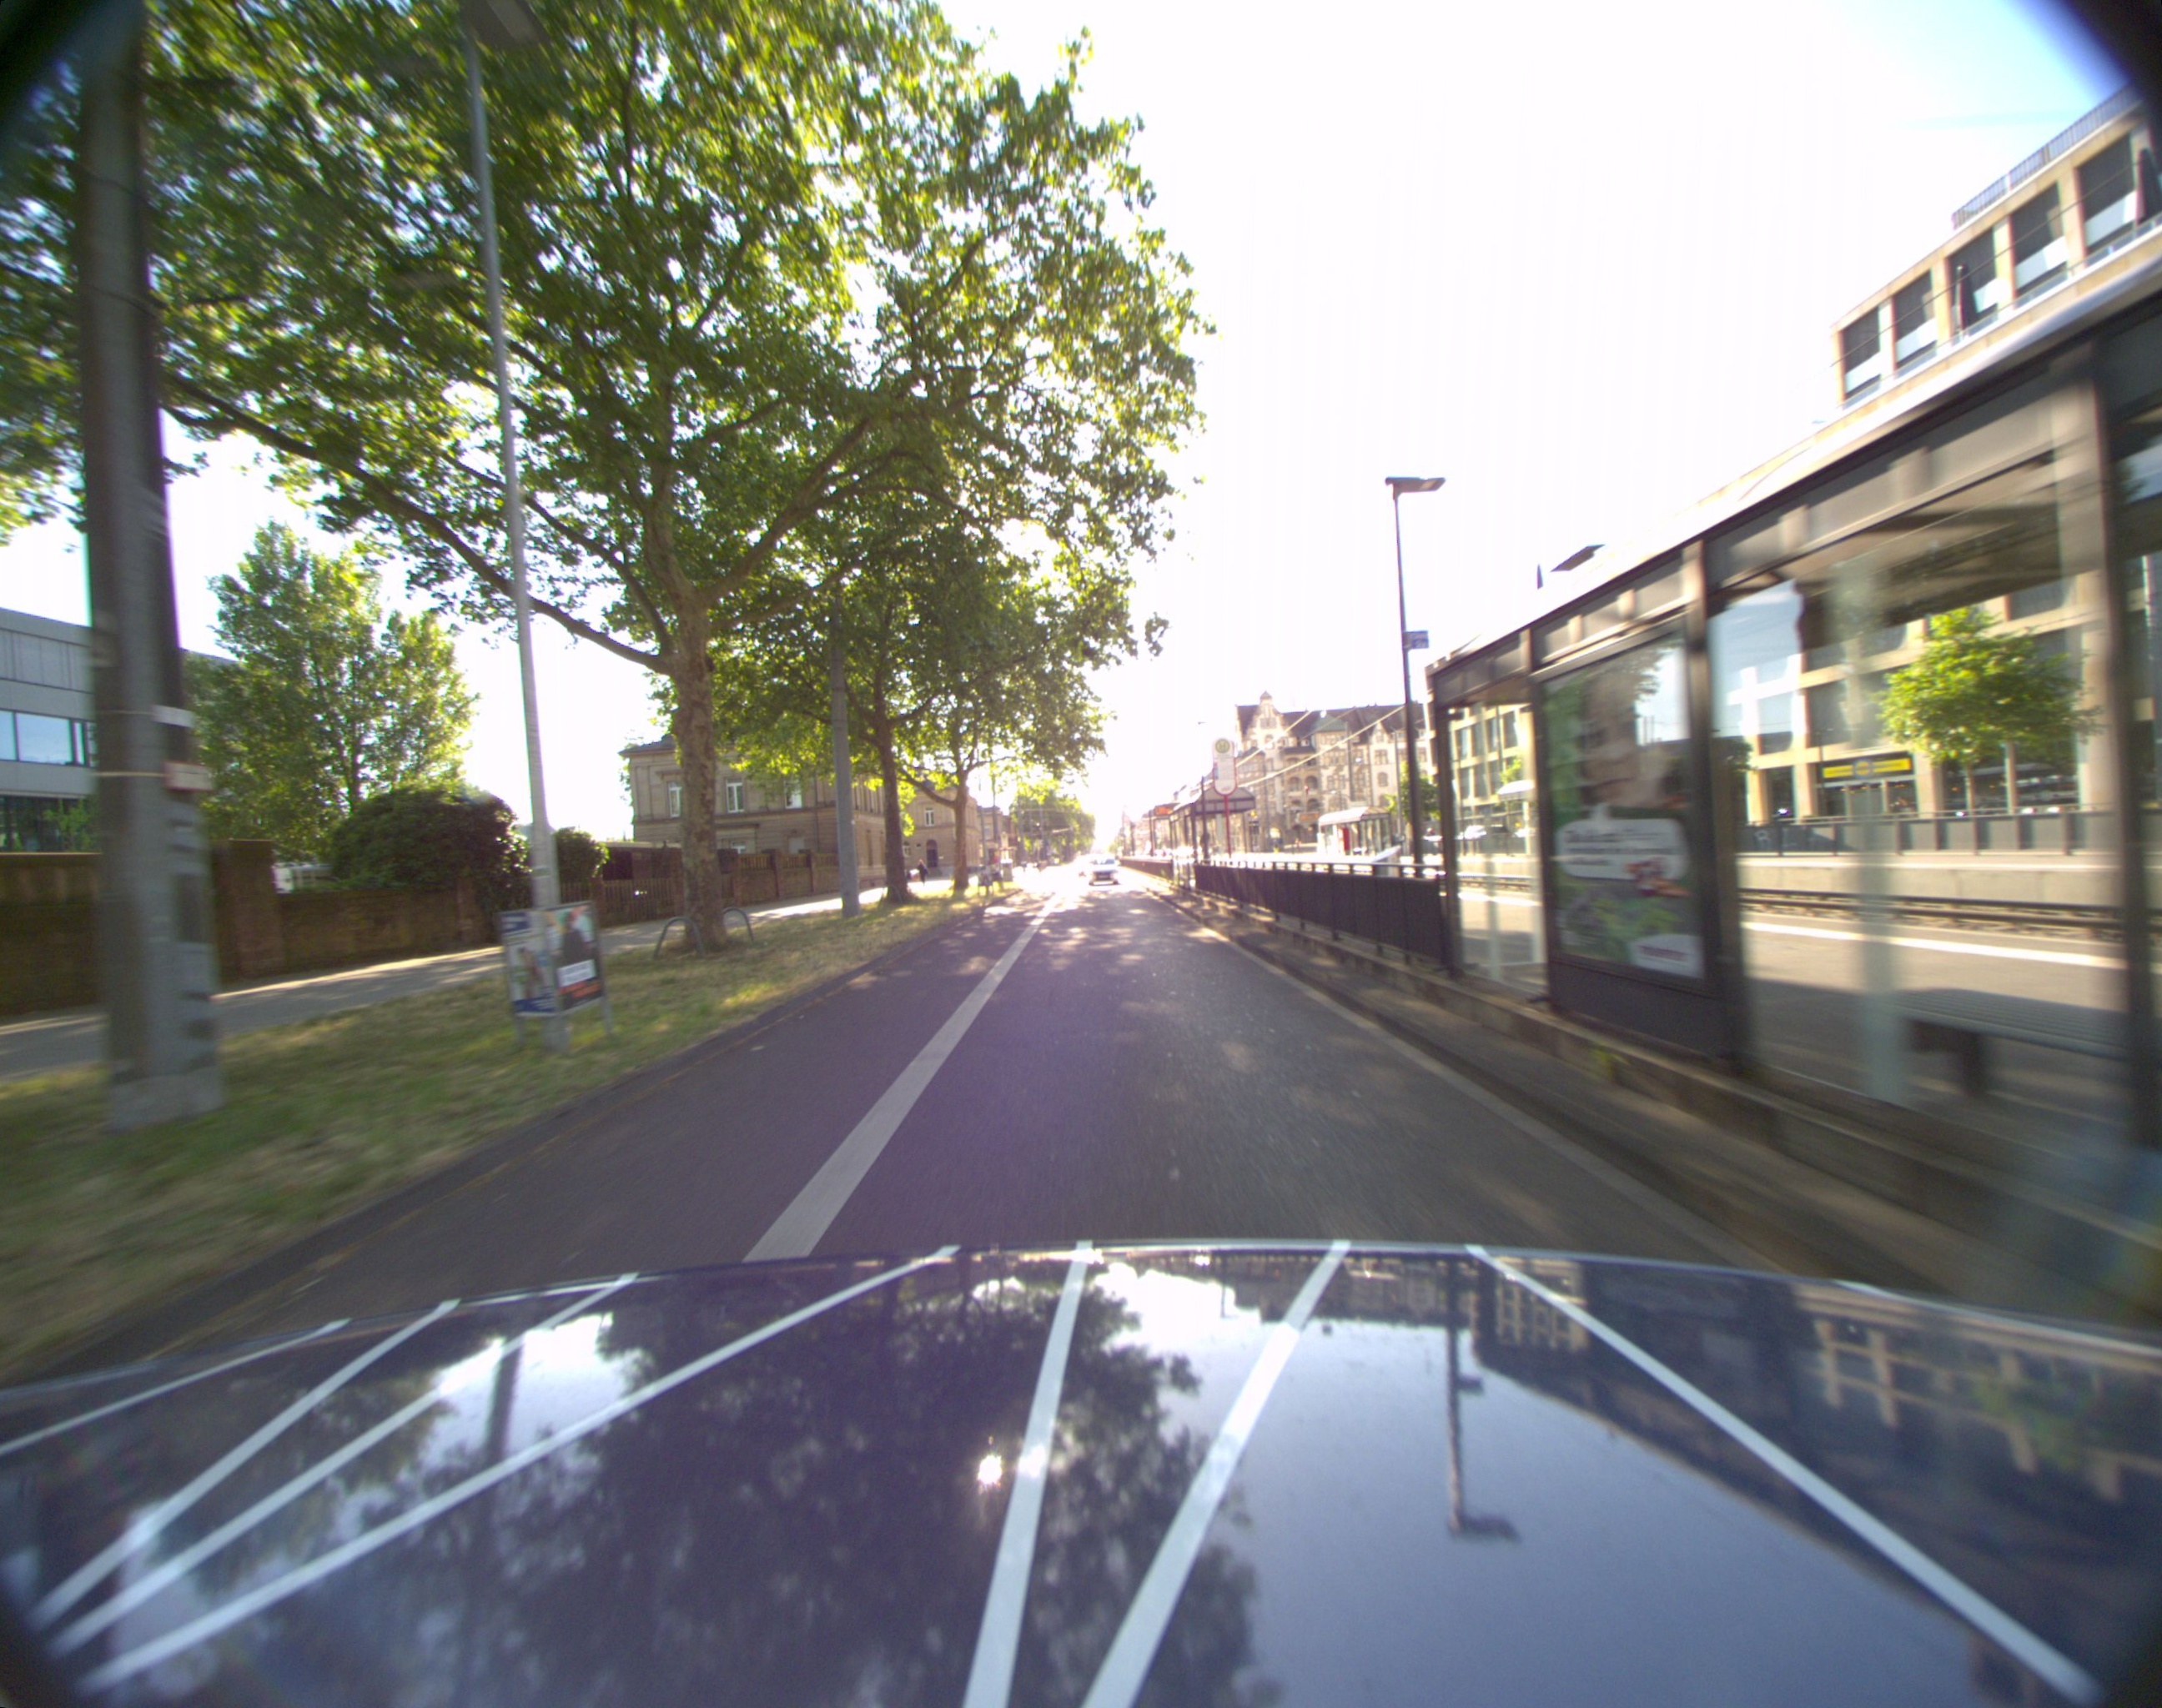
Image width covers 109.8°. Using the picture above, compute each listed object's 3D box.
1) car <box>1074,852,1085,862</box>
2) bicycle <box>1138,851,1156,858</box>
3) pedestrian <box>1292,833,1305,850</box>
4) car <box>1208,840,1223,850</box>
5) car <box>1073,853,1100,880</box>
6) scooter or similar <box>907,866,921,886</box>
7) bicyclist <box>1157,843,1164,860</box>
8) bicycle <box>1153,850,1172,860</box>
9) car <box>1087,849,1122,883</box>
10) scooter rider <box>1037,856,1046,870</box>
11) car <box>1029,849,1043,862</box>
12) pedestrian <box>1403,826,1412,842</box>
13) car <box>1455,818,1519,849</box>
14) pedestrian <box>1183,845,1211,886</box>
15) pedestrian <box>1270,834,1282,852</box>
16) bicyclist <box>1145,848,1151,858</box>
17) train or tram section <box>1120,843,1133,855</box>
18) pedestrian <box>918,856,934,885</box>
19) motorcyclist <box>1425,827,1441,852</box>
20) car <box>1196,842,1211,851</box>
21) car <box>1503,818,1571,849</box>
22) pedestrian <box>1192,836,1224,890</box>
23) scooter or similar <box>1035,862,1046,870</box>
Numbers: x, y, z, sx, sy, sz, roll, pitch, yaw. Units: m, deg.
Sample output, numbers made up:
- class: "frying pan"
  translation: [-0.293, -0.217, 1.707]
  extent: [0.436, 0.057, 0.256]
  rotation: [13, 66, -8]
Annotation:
- class: "car"
  translation: [-0.309, 0.497, 145.625]
  extent: [1.833, 1.645, 3.999]
  rotation: [-5, 1, 1]
- class: "bicycle"
  translation: [6.677, 0.065, 76.644]
  extent: [1.724, 0.605, 0.512]
  rotation: [-5, 1, 9]
- class: "pedestrian"
  translation: [21.675, -1.236, 75.667]
  extent: [0.933, 1.635, 0.795]
  rotation: [-4, 1, -13]
- class: "car"
  translation: [23.494, -1.511, 132.812]
  extent: [1.780, 1.660, 3.999]
  rotation: [-4, 0, -1]
- class: "car"
  translation: [0.340, 0.822, 51.601]
  extent: [1.649, 1.555, 3.665]
  rotation: [-5, 1, 0]
- class: "scooter or similar"
  translation: [-10.370, 1.355, 47.223]
  extent: [0.720, 1.149, 0.759]
  rotation: [-2, 1, -6]
- class: "bicyclist"
  translation: [8.102, -0.257, 77.307]
  extent: [0.629, 1.609, 0.684]
  rotation: [-4, 1, 9]
- class: "bicycle"
  translation: [8.309, 0.119, 77.303]
  extent: [1.888, 0.873, 0.608]
  rotation: [-4, 1, 9]
- class: "car"
  translation: [1.184, 0.589, 39.776]
  extent: [1.649, 1.555, 3.665]
  rotation: [-5, 1, 0]
- class: "scooter rider"
  translation: [-3.905, 0.888, 75.292]
  extent: [0.703, 1.389, 0.599]
  rotation: [-4, 1, 1]
- class: "car"
  translation: [-8.032, 0.261, 134.846]
  extent: [1.833, 2.035, 4.000]
  rotation: [-5, 1, 4]
- class: "pedestrian"
  translation: [35.123, -2.156, 81.724]
  extent: [0.616, 1.672, 0.639]
  rotation: [-4, 1, -3]
- class: "car"
  translation: [26.097, -1.272, 49.009]
  extent: [1.923, 1.759, 4.000]
  rotation: [-4, 0, 1]
- class: "pedestrian"
  translation: [3.771, 0.371, 24.736]
  extent: [0.743, 1.266, 0.524]
  rotation: [-4, 1, 0]
- class: "pedestrian"
  translation: [18.530, -1.046, 72.328]
  extent: [0.795, 1.635, 0.933]
  rotation: [-4, 1, 2]
- class: "bicyclist"
  translation: [6.777, -0.121, 76.638]
  extent: [0.462, 0.987, 0.511]
  rotation: [-4, 1, 10]
- class: "train or tram section"
  translation: [14.579, -1.527, 244.062]
  extent: [2.782, 3.378, 19.474]
  rotation: [-5, 0, 0]
- class: "pedestrian"
  translation: [-9.662, 1.009, 47.361]
  extent: [0.771, 1.734, 0.796]
  rotation: [-2, 1, -6]
- class: "motorcyclist"
  translation: [22.080, -0.922, 47.713]
  extent: [0.577, 1.524, 0.765]
  rotation: [-4, 1, 2]
- class: "car"
  translation: [23.202, -1.343, 143.560]
  extent: [1.741, 1.516, 3.998]
  rotation: [-6, 0, -4]
- class: "car"
  translation: [25.896, -1.136, 43.309]
  extent: [1.649, 1.553, 3.650]
  rotation: [-4, 0, 1]
- class: "pedestrian"
  translation: [3.662, 0.250, 21.972]
  extent: [0.747, 1.500, 0.666]
  rotation: [-3, 1, 3]
- class: "scooter or similar"
  translation: [-4.053, 1.187, 75.210]
  extent: [1.023, 0.807, 0.265]
  rotation: [-4, 1, 1]
